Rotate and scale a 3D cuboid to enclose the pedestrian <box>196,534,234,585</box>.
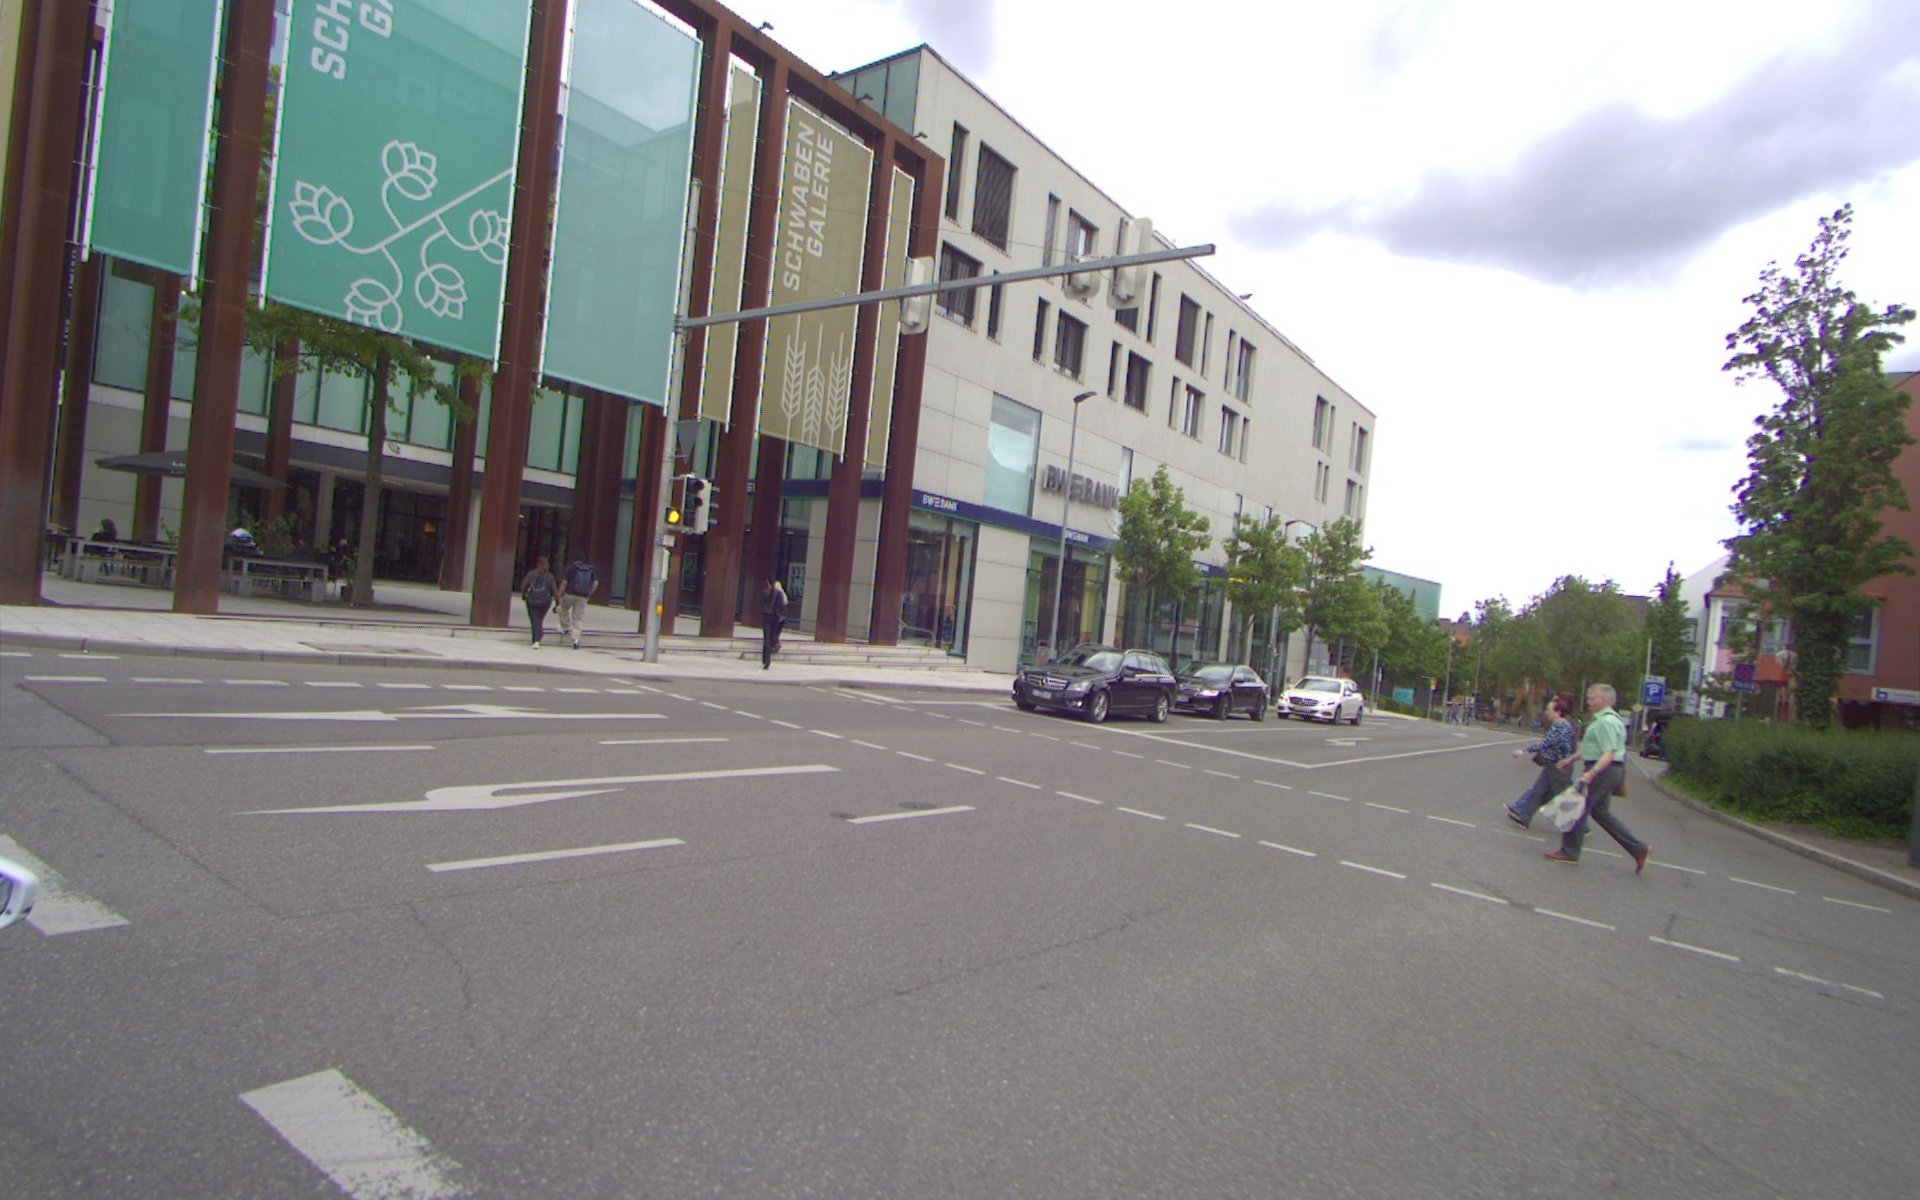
[{"bbox_3d":[-19.334,-1.049,26.103,0.783,1.224,0.515,8,1,37],"label":"pedestrian"}]

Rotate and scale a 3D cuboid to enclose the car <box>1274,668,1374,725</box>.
[{"bbox_3d":[11.859,3.141,32.606,1.773,1.505,4.560,7,-1,36],"label":"car"}]

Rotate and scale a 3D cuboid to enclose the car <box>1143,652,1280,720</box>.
[{"bbox_3d":[6.628,2.282,26.172,1.773,1.421,4.536,7,-1,36],"label":"car"}]

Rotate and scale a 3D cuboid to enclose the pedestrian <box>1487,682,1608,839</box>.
[{"bbox_3d":[6.677,1.787,11.437,0.955,1.578,0.829,6,0,37],"label":"pedestrian"}]

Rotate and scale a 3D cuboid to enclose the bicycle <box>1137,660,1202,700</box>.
[{"bbox_3d":[7.075,2.698,34.046,1.963,1.115,0.718,6,0,38],"label":"bicycle"}]

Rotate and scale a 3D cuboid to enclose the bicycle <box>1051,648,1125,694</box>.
[{"bbox_3d":[3.759,2.079,29.659,1.963,1.115,0.718,6,0,38],"label":"bicycle"}]

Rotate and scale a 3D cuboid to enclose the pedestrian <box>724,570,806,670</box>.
[{"bbox_3d":[-3.764,0.389,19.394,1.103,1.789,0.878,6,1,36],"label":"pedestrian"}]

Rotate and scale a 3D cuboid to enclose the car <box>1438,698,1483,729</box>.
[{"bbox_3d":[32.513,7.381,65.315,1.773,1.674,4.449,7,-1,36],"label":"car"}]

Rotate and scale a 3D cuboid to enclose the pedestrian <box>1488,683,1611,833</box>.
[{"bbox_3d":[7.153,1.877,12.212,1.043,1.604,0.829,6,0,38],"label":"pedestrian"}]

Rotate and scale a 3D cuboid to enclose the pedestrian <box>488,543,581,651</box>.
[{"bbox_3d":[-7.243,-0.050,17.140,1.103,1.702,0.878,6,1,36],"label":"pedestrian"}]

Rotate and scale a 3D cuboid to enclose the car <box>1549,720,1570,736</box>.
[{"bbox_3d":[76.484,16.346,128.414,1.700,1.618,3.730,8,-1,38],"label":"car"}]

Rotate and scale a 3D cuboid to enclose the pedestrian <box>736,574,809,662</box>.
[{"bbox_3d":[-4.084,0.396,21.931,1.103,1.789,0.878,6,1,36],"label":"pedestrian"}]

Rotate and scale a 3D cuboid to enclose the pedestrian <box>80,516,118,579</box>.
[{"bbox_3d":[-17.929,-1.095,20.954,0.598,1.235,0.447,7,1,43],"label":"pedestrian"}]

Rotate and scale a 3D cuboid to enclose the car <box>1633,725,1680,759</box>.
[{"bbox_3d":[36.705,7.472,53.001,1.700,1.410,3.730,8,-1,38],"label":"car"}]

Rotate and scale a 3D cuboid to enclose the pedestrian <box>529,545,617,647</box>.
[{"bbox_3d":[-6.999,-0.070,18.181,1.103,1.702,0.878,6,1,36],"label":"pedestrian"}]

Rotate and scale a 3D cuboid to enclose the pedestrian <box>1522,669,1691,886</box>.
[{"bbox_3d":[6.039,1.594,9.385,1.093,1.736,1.055,6,0,37],"label":"pedestrian"}]

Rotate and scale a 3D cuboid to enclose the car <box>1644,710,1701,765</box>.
[{"bbox_3d":[31.860,6.146,44.926,1.700,2.037,3.730,8,-1,38],"label":"car"}]

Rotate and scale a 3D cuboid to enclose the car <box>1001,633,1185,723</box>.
[{"bbox_3d":[2.761,1.599,20.062,1.773,1.421,4.175,7,-1,36],"label":"car"}]
